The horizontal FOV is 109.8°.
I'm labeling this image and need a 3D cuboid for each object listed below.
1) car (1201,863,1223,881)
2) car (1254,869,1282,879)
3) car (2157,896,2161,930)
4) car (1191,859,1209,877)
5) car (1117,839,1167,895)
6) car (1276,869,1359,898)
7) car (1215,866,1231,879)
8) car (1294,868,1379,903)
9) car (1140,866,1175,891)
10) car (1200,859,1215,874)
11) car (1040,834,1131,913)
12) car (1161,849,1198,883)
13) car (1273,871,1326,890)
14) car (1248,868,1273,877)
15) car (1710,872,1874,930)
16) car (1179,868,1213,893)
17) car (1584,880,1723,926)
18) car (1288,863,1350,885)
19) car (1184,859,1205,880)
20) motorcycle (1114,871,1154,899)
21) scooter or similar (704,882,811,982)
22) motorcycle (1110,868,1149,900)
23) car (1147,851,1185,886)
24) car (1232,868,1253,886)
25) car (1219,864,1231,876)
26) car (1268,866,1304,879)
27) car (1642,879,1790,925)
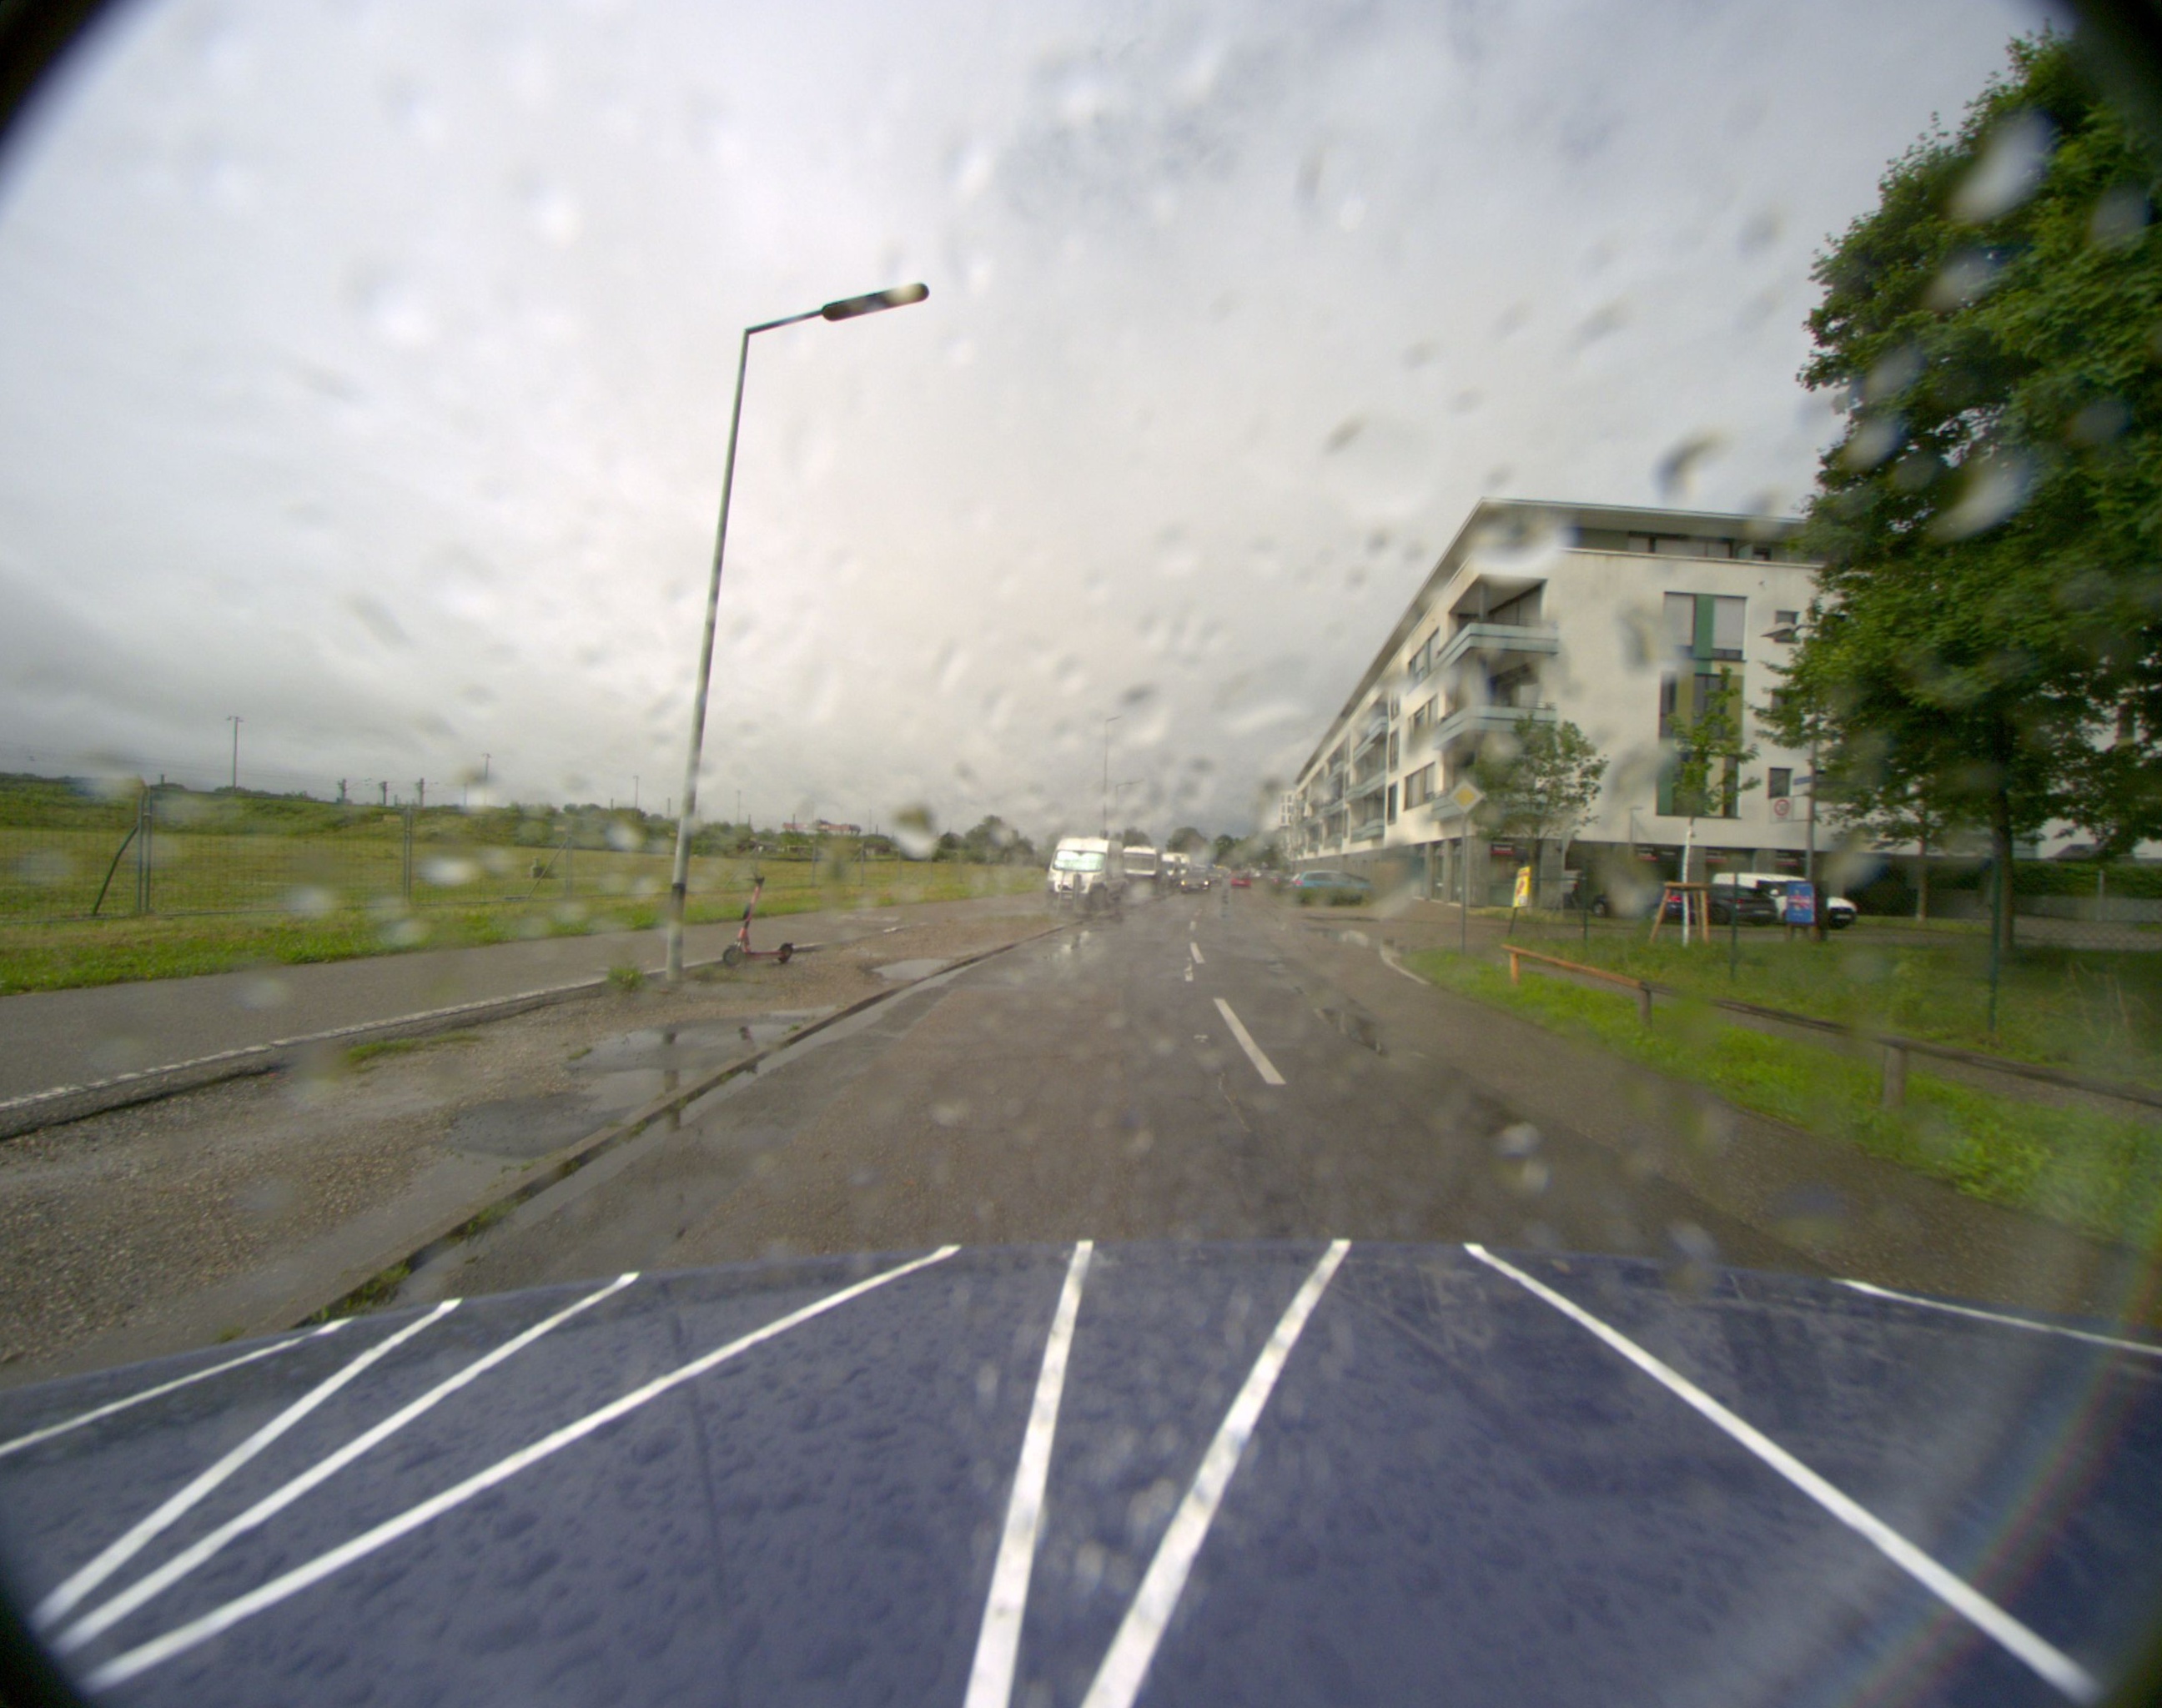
[{"bbox_3d":[13.052,1.776,75.734,2.008,1.695,4.333,2,0,10],"label":"car"},{"bbox_3d":[26.706,2.818,108.471,3.795,1.362,1.746,-1,0,11],"label":"car"},{"bbox_3d":[45.357,2.446,29.289,1.643,1.388,4.182,0,1,-6],"label":"car"},{"bbox_3d":[15.637,1.877,99.435,1.996,2.228,4.568,2,0,12],"label":"car"},{"bbox_3d":[3.634,0.740,44.183,2.147,2.867,5.281,5,0,10],"label":"car"},{"bbox_3d":[13.072,1.620,42.161,4.179,1.540,1.861,-1,0,11],"label":"car"},{"bbox_3d":[17.801,2.286,95.529,1.840,1.510,4.361,2,0,9],"label":"car"},{"bbox_3d":[12.467,1.535,37.296,3.816,1.623,1.757,-1,0,14],"label":"car"},{"bbox_3d":[5.286,1.625,51.801,1.732,1.485,4.446,4,0,13],"label":"car"},{"bbox_3d":[19.871,2.021,119.250,1.996,2.228,4.568,2,0,12],"label":"car"},{"bbox_3d":[0.335,0.649,27.778,2.095,2.458,5.953,3,0,11],"label":"car"},{"bbox_3d":[9.244,1.124,71.021,2.474,2.938,6.895,3,0,14],"label":"car"},{"bbox_3d":[16.254,1.940,56.693,3.737,1.364,1.646,0,0,12],"label":"car"},{"bbox_3d":[27.955,2.903,118.432,3.795,1.362,1.746,-1,0,11],"label":"car"},{"bbox_3d":[25.777,1.633,27.781,1.643,1.825,4.347,0,1,-6],"label":"car"},{"bbox_3d":[7.529,1.718,49.391,1.872,1.509,4.363,-1,-2,12],"label":"car"},{"bbox_3d":[20.756,1.716,27.784,1.643,1.388,4.185,0,1,-6],"label":"car"},{"bbox_3d":[15.566,1.342,49.797,3.664,1.369,1.688,-1,-2,9],"label":"car"},{"bbox_3d":[12.812,1.761,85.556,1.996,2.228,4.568,2,0,12],"label":"car"},{"bbox_3d":[2.540,1.496,36.532,1.676,1.188,0.648,5,1,-11],"label":"motorcycle"},{"bbox_3d":[-4.296,1.000,10.187,0.491,1.207,1.342,2,0,20],"label":"scooter or similar"},{"bbox_3d":[2.254,1.393,35.386,1.647,1.366,0.721,3,0,-4],"label":"motorcycle"},{"bbox_3d":[6.830,1.150,60.358,2.071,2.514,6.665,4,0,13],"label":"car"},{"bbox_3d":[13.988,1.961,65.730,1.659,1.459,3.393,2,0,14],"label":"car"},{"bbox_3d":[25.359,2.782,133.668,1.997,2.001,4.003,-1,-1,9],"label":"car"},{"bbox_3d":[23.232,2.057,86.031,3.795,1.362,1.746,-1,0,11],"label":"car"},{"bbox_3d":[23.069,1.695,27.834,1.688,1.388,4.126,0,1,-6],"label":"car"}]
